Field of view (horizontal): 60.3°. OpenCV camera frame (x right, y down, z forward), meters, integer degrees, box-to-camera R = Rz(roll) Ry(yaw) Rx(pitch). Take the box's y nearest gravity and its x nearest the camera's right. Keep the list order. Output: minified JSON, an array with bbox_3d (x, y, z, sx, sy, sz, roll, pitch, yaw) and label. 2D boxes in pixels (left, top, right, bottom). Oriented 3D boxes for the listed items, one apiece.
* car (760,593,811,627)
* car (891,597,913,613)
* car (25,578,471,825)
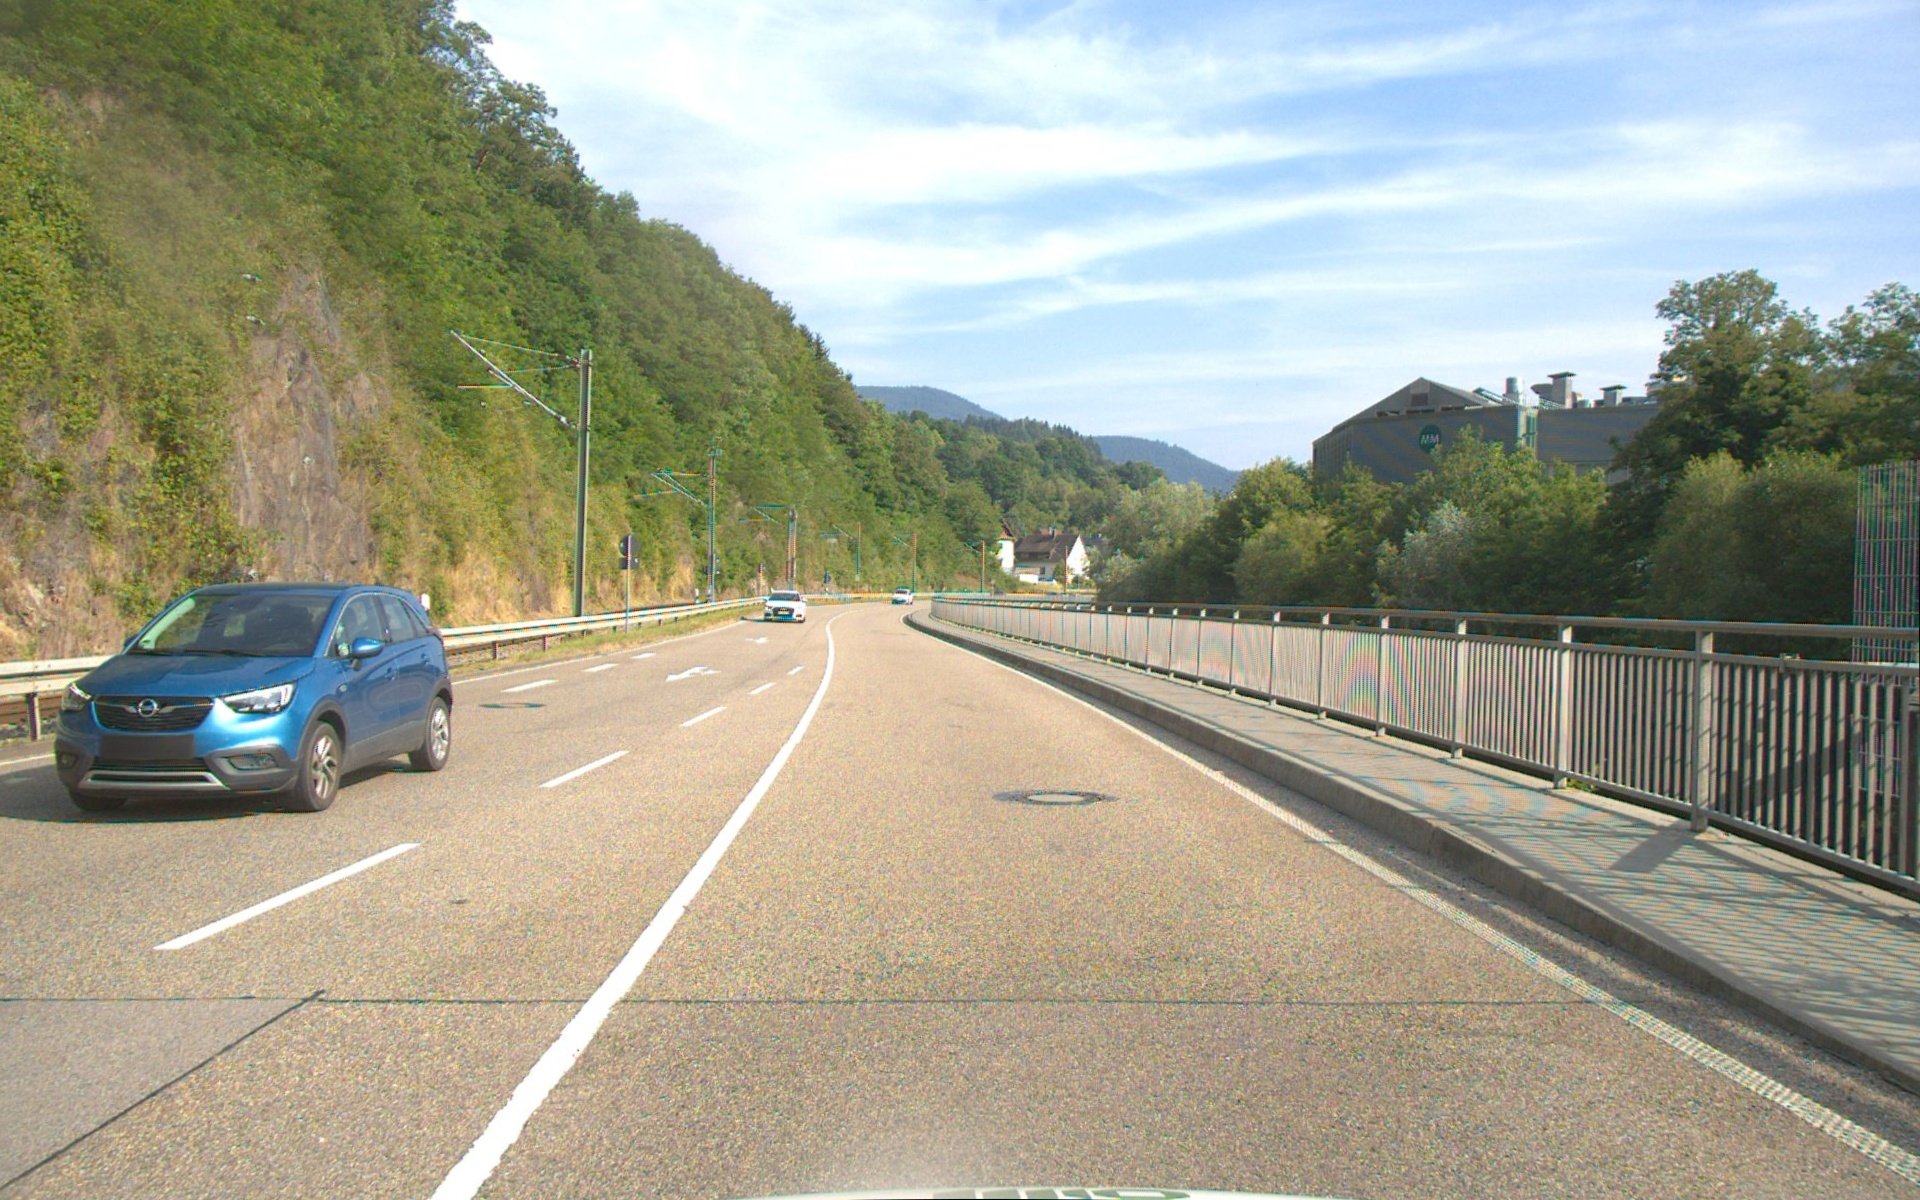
[{"bbox_3d":[-8.182,0.435,78.064,2.022,1.464,4.684,3,0,-2],"label":"car"},{"bbox_3d":[-6.064,0.525,172.257,1.808,1.571,4.606,0,0,4],"label":"car"},{"bbox_3d":[-5.239,0.658,12.825,1.683,1.598,4.135,0,0,0],"label":"car"}]
